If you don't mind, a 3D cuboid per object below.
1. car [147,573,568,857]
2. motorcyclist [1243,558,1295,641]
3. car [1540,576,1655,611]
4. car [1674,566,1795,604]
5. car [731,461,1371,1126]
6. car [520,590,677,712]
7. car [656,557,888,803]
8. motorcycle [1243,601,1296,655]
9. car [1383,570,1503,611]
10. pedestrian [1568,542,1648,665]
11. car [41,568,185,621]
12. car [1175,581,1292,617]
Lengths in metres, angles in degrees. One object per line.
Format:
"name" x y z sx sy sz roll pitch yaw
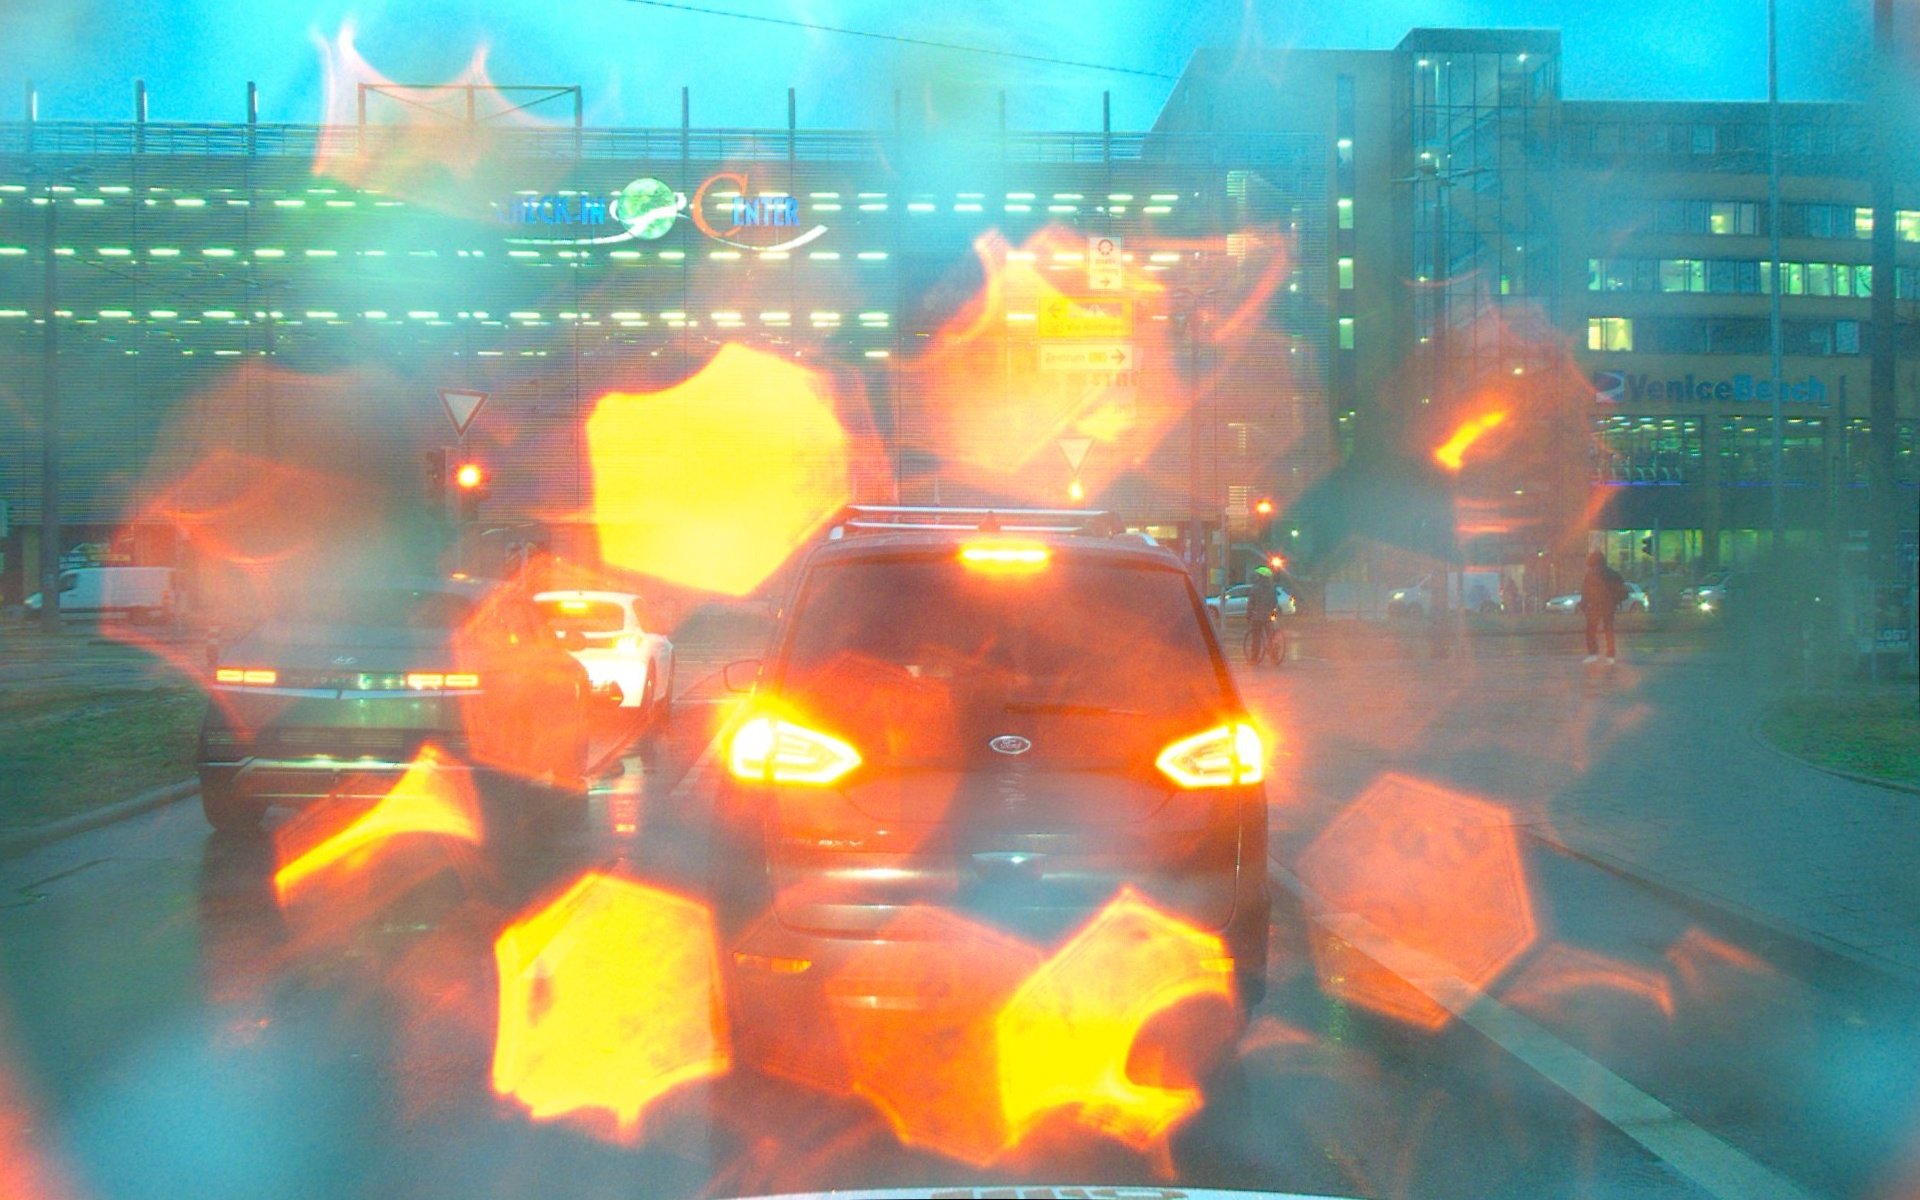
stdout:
"car" -3.893 0.641 11.414 1.718 1.601 3.996 0 0 -5
"motorcyclist" 5.923 -0.005 31.747 0.850 1.561 1.109 0 0 5
"car" 26.482 -0.288 68.770 4.136 1.414 1.797 -1 0 -8
"car" 32.729 -0.634 69.949 4.348 1.561 1.797 -1 0 -8
"car" 0.149 0.519 6.635 1.700 1.768 4.244 2 0 -3
"car" -4.140 0.523 19.402 1.512 1.273 4.060 0 0 -8
"car" -1.482 0.569 13.517 1.604 1.726 3.667 1 0 -5
"motorcycle" 5.921 0.523 31.733 0.835 0.989 1.582 0 0 5
"car" 19.617 -0.390 67.192 4.336 1.623 1.797 -1 0 -8
"pedestrian" 10.693 0.048 27.276 1.146 1.957 0.898 2 0 22
"car" -33.687 -0.232 65.896 4.747 2.035 1.797 -1 0 -8
"car" 10.998 -0.055 66.582 4.336 1.414 1.797 -1 0 -8
